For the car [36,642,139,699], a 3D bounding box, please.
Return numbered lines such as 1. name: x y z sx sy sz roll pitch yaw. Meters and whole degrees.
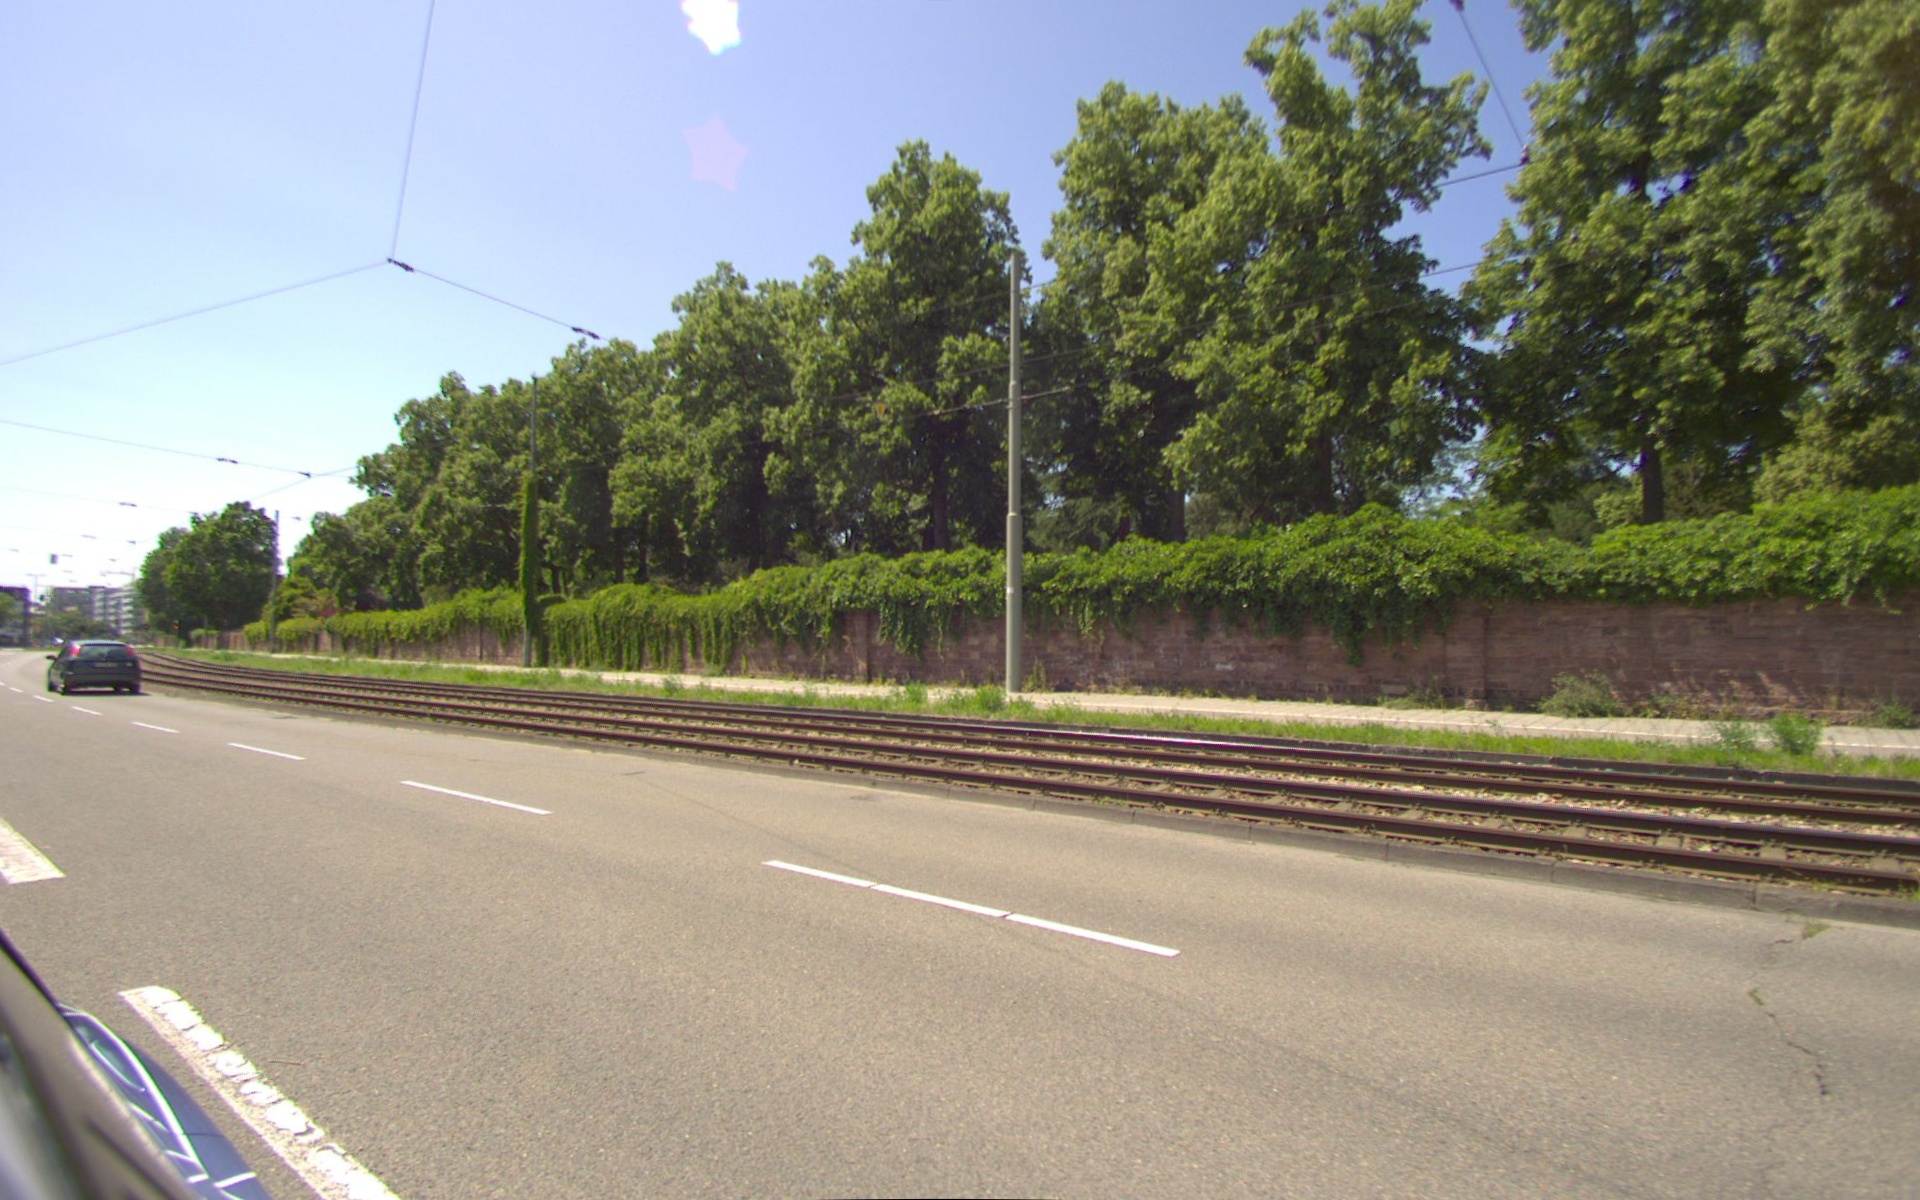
1. car: -24.419 1.911 28.274 3.999 1.480 1.674 -2 -3 42
